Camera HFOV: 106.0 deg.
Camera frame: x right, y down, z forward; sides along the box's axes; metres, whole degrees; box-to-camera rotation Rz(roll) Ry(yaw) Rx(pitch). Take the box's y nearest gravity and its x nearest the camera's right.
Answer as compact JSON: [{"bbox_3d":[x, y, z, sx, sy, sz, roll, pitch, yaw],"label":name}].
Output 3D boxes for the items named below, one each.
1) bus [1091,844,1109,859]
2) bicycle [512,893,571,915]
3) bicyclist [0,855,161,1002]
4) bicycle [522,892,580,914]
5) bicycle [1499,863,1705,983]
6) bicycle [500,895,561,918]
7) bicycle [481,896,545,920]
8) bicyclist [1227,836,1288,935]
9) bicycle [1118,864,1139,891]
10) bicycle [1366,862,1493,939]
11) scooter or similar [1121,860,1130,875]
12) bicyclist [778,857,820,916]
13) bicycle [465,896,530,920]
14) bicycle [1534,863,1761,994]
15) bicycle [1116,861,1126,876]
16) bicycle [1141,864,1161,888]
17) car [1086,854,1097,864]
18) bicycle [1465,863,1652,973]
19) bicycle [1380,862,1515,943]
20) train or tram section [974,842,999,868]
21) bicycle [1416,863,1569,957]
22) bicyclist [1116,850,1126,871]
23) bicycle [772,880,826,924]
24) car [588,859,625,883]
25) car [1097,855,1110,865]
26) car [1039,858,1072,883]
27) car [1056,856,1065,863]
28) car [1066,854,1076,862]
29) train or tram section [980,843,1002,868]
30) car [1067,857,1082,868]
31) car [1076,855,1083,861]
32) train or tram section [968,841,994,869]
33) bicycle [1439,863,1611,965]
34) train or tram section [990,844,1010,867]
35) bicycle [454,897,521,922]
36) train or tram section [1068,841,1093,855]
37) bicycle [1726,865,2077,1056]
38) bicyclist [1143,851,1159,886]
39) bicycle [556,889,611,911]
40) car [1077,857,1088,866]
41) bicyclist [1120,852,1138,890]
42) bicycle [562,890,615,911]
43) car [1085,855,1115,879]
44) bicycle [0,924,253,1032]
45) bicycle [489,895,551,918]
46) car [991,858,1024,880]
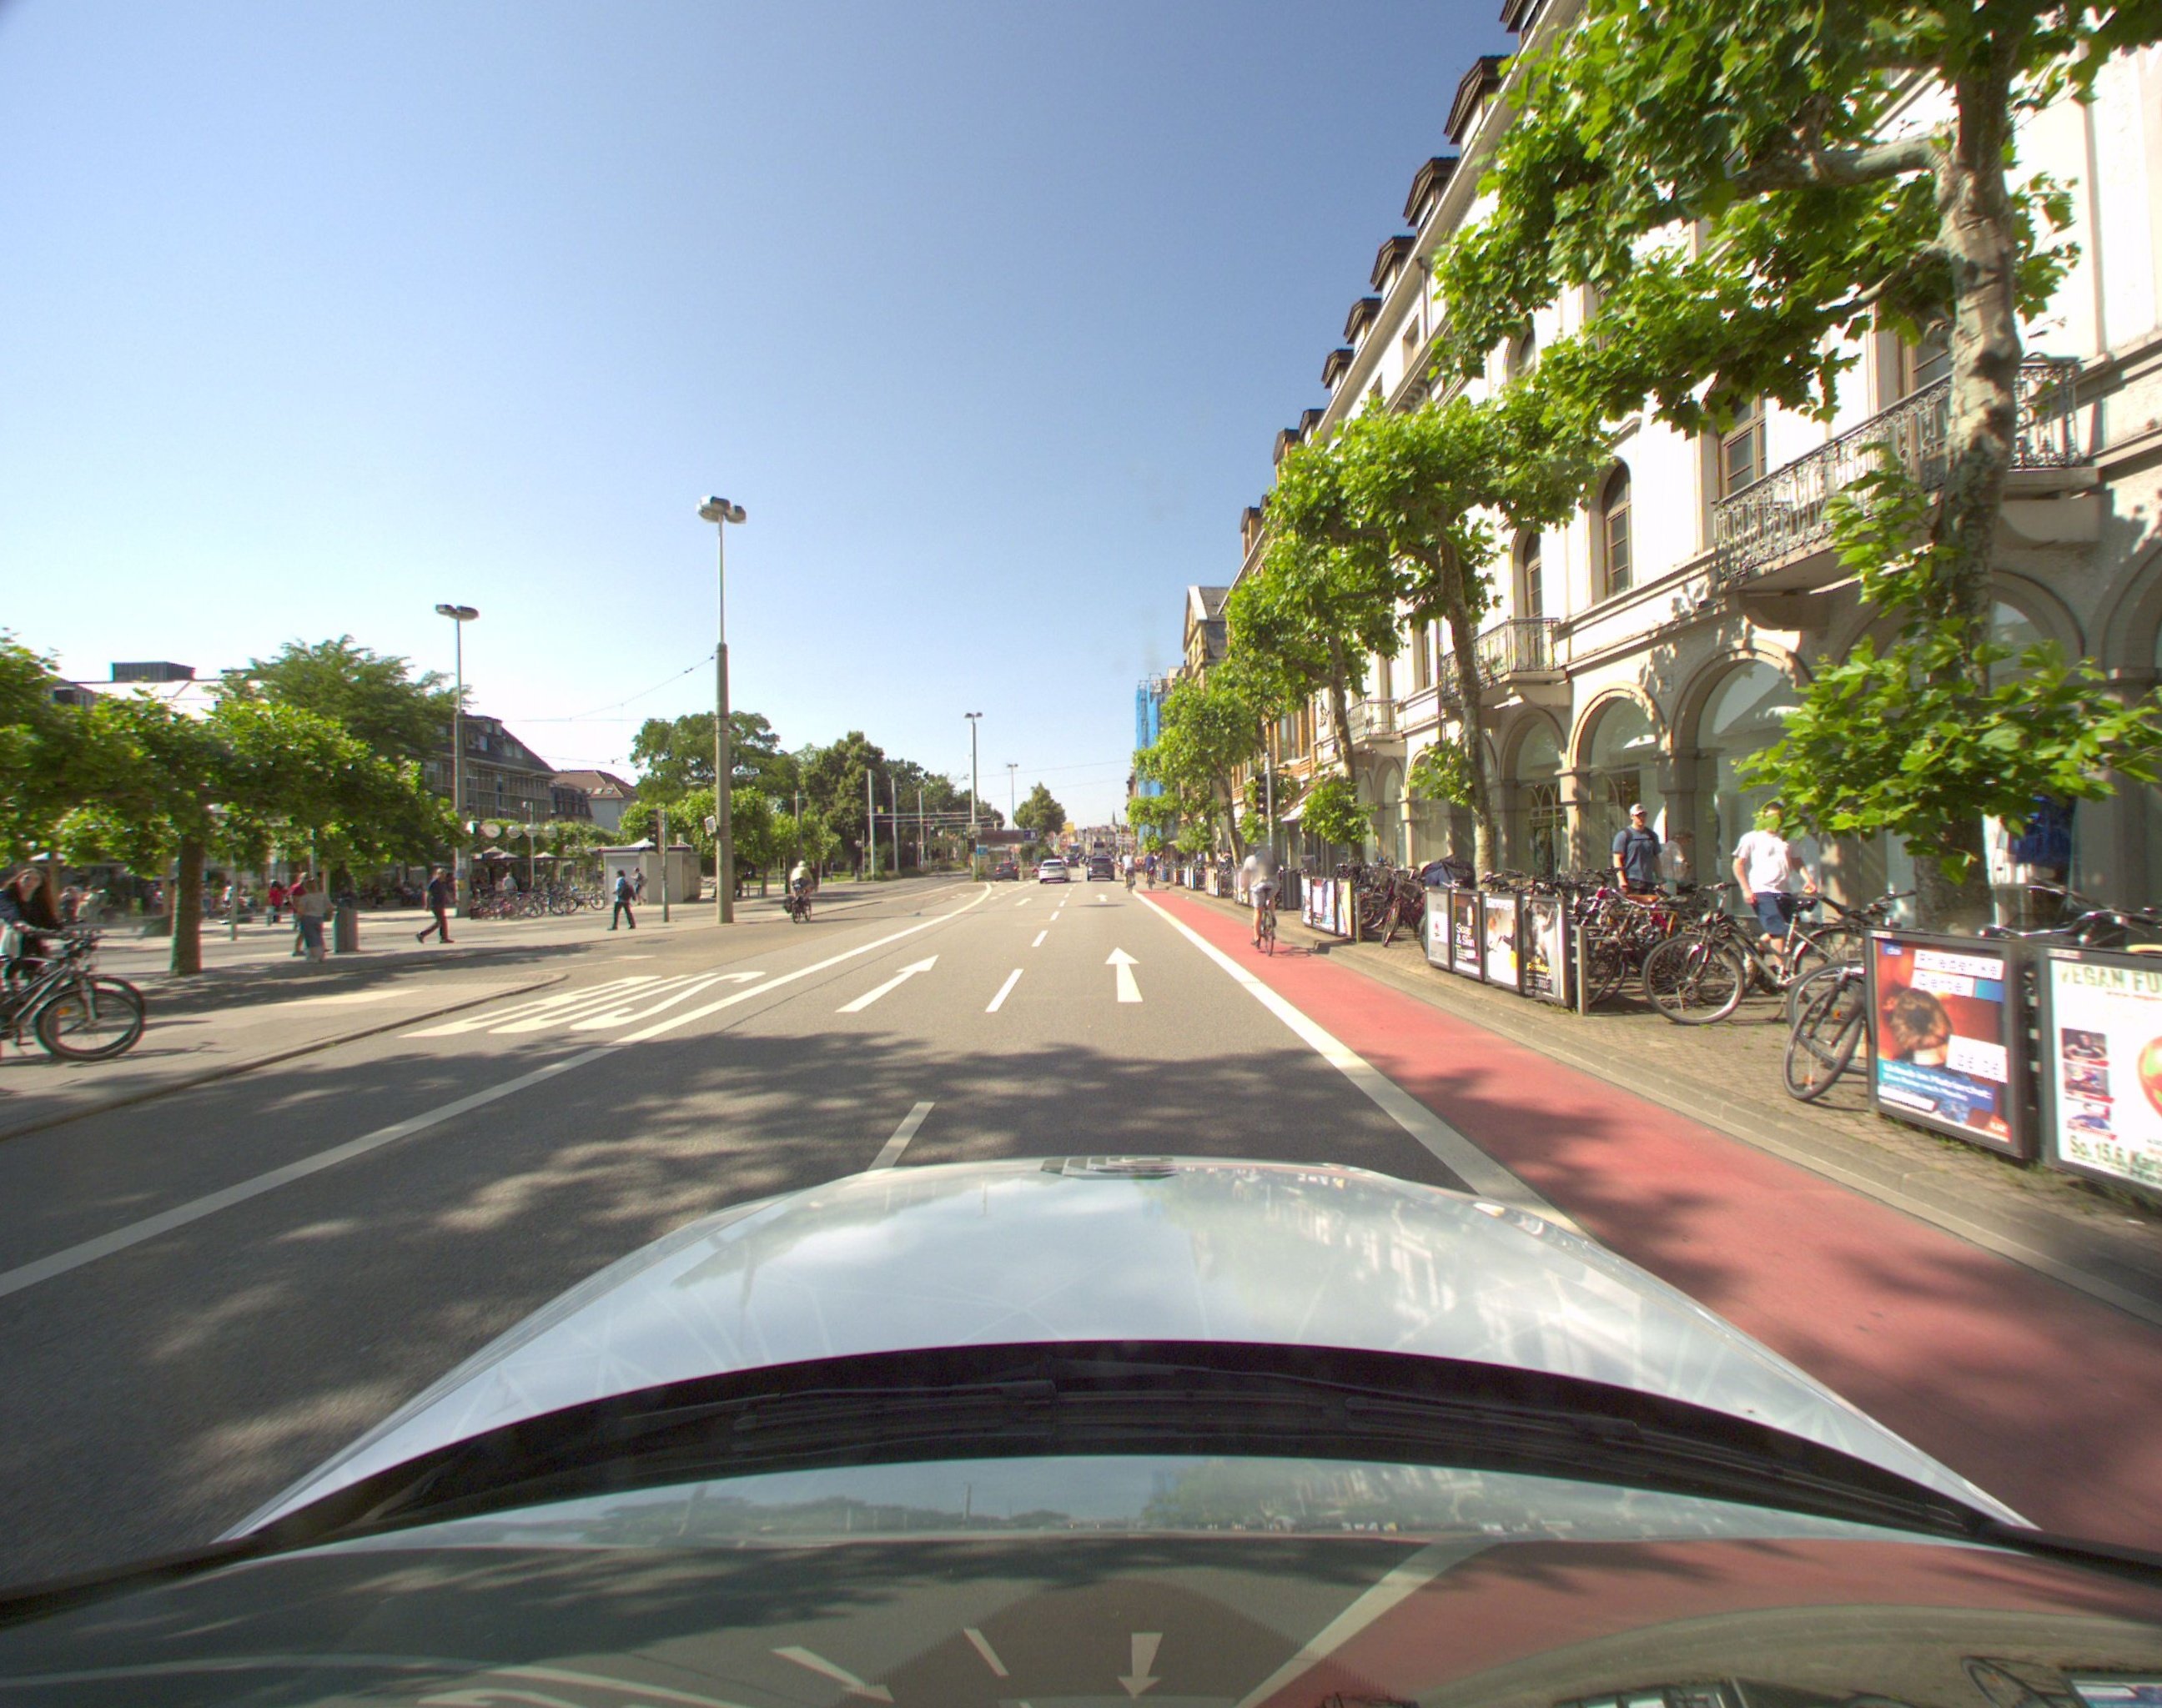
[{"bbox_3d":[3.498,-0.462,152.344,2.961,2.776,8.635,0,0,-2],"label":"bus"},{"bbox_3d":[-21.454,1.993,32.424,1.866,0.856,0.544,0,-1,-13],"label":"bicycle"},{"bbox_3d":[-10.974,0.763,8.770,1.153,1.498,0.832,0,-1,1],"label":"bicyclist"},{"bbox_3d":[-21.572,1.989,33.175,1.866,0.869,0.579,0,-1,-13],"label":"bicycle"},{"bbox_3d":[5.340,0.688,8.394,1.748,1.147,0.592,-1,-1,-2],"label":"bicycle"},{"bbox_3d":[-21.488,2.033,31.814,1.866,0.856,0.544,0,-1,-13],"label":"bicycle"},{"bbox_3d":[-21.389,2.020,30.687,1.866,0.856,0.544,0,-1,-13],"label":"bicycle"},{"bbox_3d":[2.735,0.474,12.705,0.686,1.463,1.142,0,-1,-1],"label":"bicyclist"},{"bbox_3d":[2.026,0.981,34.834,0.732,1.093,1.897,0,0,-1],"label":"bicycle"},{"bbox_3d":[5.473,0.715,12.847,1.748,1.147,0.592,-1,-1,-2],"label":"bicycle"},{"bbox_3d":[3.624,1.089,66.995,0.686,1.167,1.464,0,-1,0],"label":"scooter or similar"},{"bbox_3d":[-8.128,0.917,23.513,0.815,1.622,0.902,-2,0,0],"label":"bicyclist"},{"bbox_3d":[-21.555,1.988,30.110,1.866,0.872,0.581,0,-1,-13],"label":"bicycle"},{"bbox_3d":[5.335,0.683,7.719,1.748,1.147,0.592,-1,-1,-2],"label":"bicycle"},{"bbox_3d":[3.162,1.134,64.171,0.732,1.093,1.897,0,0,0],"label":"bicycle"},{"bbox_3d":[3.258,1.020,38.180,0.732,1.093,1.910,0,0,-1],"label":"bicycle"},{"bbox_3d":[1.429,0.637,110.811,1.447,1.301,3.341,0,0,0],"label":"car"},{"bbox_3d":[5.313,0.693,9.122,1.748,1.147,0.592,-1,-1,-2],"label":"bicycle"},{"bbox_3d":[5.464,0.711,12.182,1.748,1.147,0.592,-1,-1,-2],"label":"bicycle"},{"bbox_3d":[-13.086,0.165,113.068,2.605,3.581,6.102,0,0,0],"label":"train or tram section"},{"bbox_3d":[5.288,0.702,10.511,1.698,1.147,0.519,-1,-1,-2],"label":"bicycle"},{"bbox_3d":[3.167,0.505,64.205,0.686,1.577,1.049,0,-1,-1],"label":"bicyclist"},{"bbox_3d":[-8.111,1.361,23.541,0.815,1.120,1.874,-4,-1,1],"label":"bicycle"},{"bbox_3d":[-68.020,2.370,116.925,2.120,3.316,5.419,0,-1,0],"label":"car"},{"bbox_3d":[3.446,0.953,126.944,1.986,1.493,4.001,0,0,1],"label":"car"},{"bbox_3d":[-1.581,1.032,51.509,1.852,1.507,4.001,0,0,1],"label":"car"},{"bbox_3d":[-3.681,0.969,148.950,1.446,1.301,4.001,0,0,1],"label":"car"},{"bbox_3d":[-1.701,0.703,136.759,1.446,1.301,4.001,0,0,1],"label":"car"},{"bbox_3d":[-13.049,0.205,118.785,2.605,3.581,5.356,0,-1,0],"label":"train or tram section"},{"bbox_3d":[-0.831,1.125,105.282,1.809,1.332,4.001,0,0,1],"label":"car"},{"bbox_3d":[-0.366,0.935,176.497,1.447,1.301,3.341,0,0,0],"label":"car"},{"bbox_3d":[-13.144,0.121,106.957,2.605,3.581,6.102,0,0,0],"label":"train or tram section"},{"bbox_3d":[5.312,0.697,9.801,1.748,1.147,0.592,-1,-1,-2],"label":"bicycle"},{"bbox_3d":[-13.014,0.294,131.293,2.605,3.581,6.016,0,0,0],"label":"train or tram section"},{"bbox_3d":[-21.483,1.993,29.487,1.866,0.856,0.544,0,-1,-13],"label":"bicycle"},{"bbox_3d":[-0.005,-1.539,214.179,2.797,3.581,10.087,0,-1,23],"label":"train or tram section"},{"bbox_3d":[5.375,0.667,5.393,1.748,1.147,0.598,-1,-1,-2],"label":"bicycle"},{"bbox_3d":[3.266,0.670,38.111,0.686,1.616,0.918,0,-1,-1],"label":"bicyclist"},{"bbox_3d":[-21.115,1.943,34.588,1.866,0.869,0.579,0,-1,-13],"label":"bicycle"},{"bbox_3d":[0.225,1.083,123.683,1.448,1.301,3.339,0,0,-2],"label":"car"},{"bbox_3d":[2.032,0.705,34.601,0.686,1.577,1.049,0,-1,0],"label":"bicyclist"},{"bbox_3d":[-21.241,2.006,35.152,1.866,0.869,0.579,0,-1,-13],"label":"bicycle"},{"bbox_3d":[1.218,0.840,52.950,1.867,1.493,4.001,0,0,1],"label":"car"},{"bbox_3d":[-10.648,1.307,8.757,2.609,1.023,0.831,0,-1,0],"label":"bicycle"},{"bbox_3d":[-21.469,2.006,31.207,1.866,0.856,0.544,0,-1,-13],"label":"bicycle"},{"bbox_3d":[-5.386,1.087,60.019,1.986,1.508,4.001,0,0,1],"label":"car"}]
